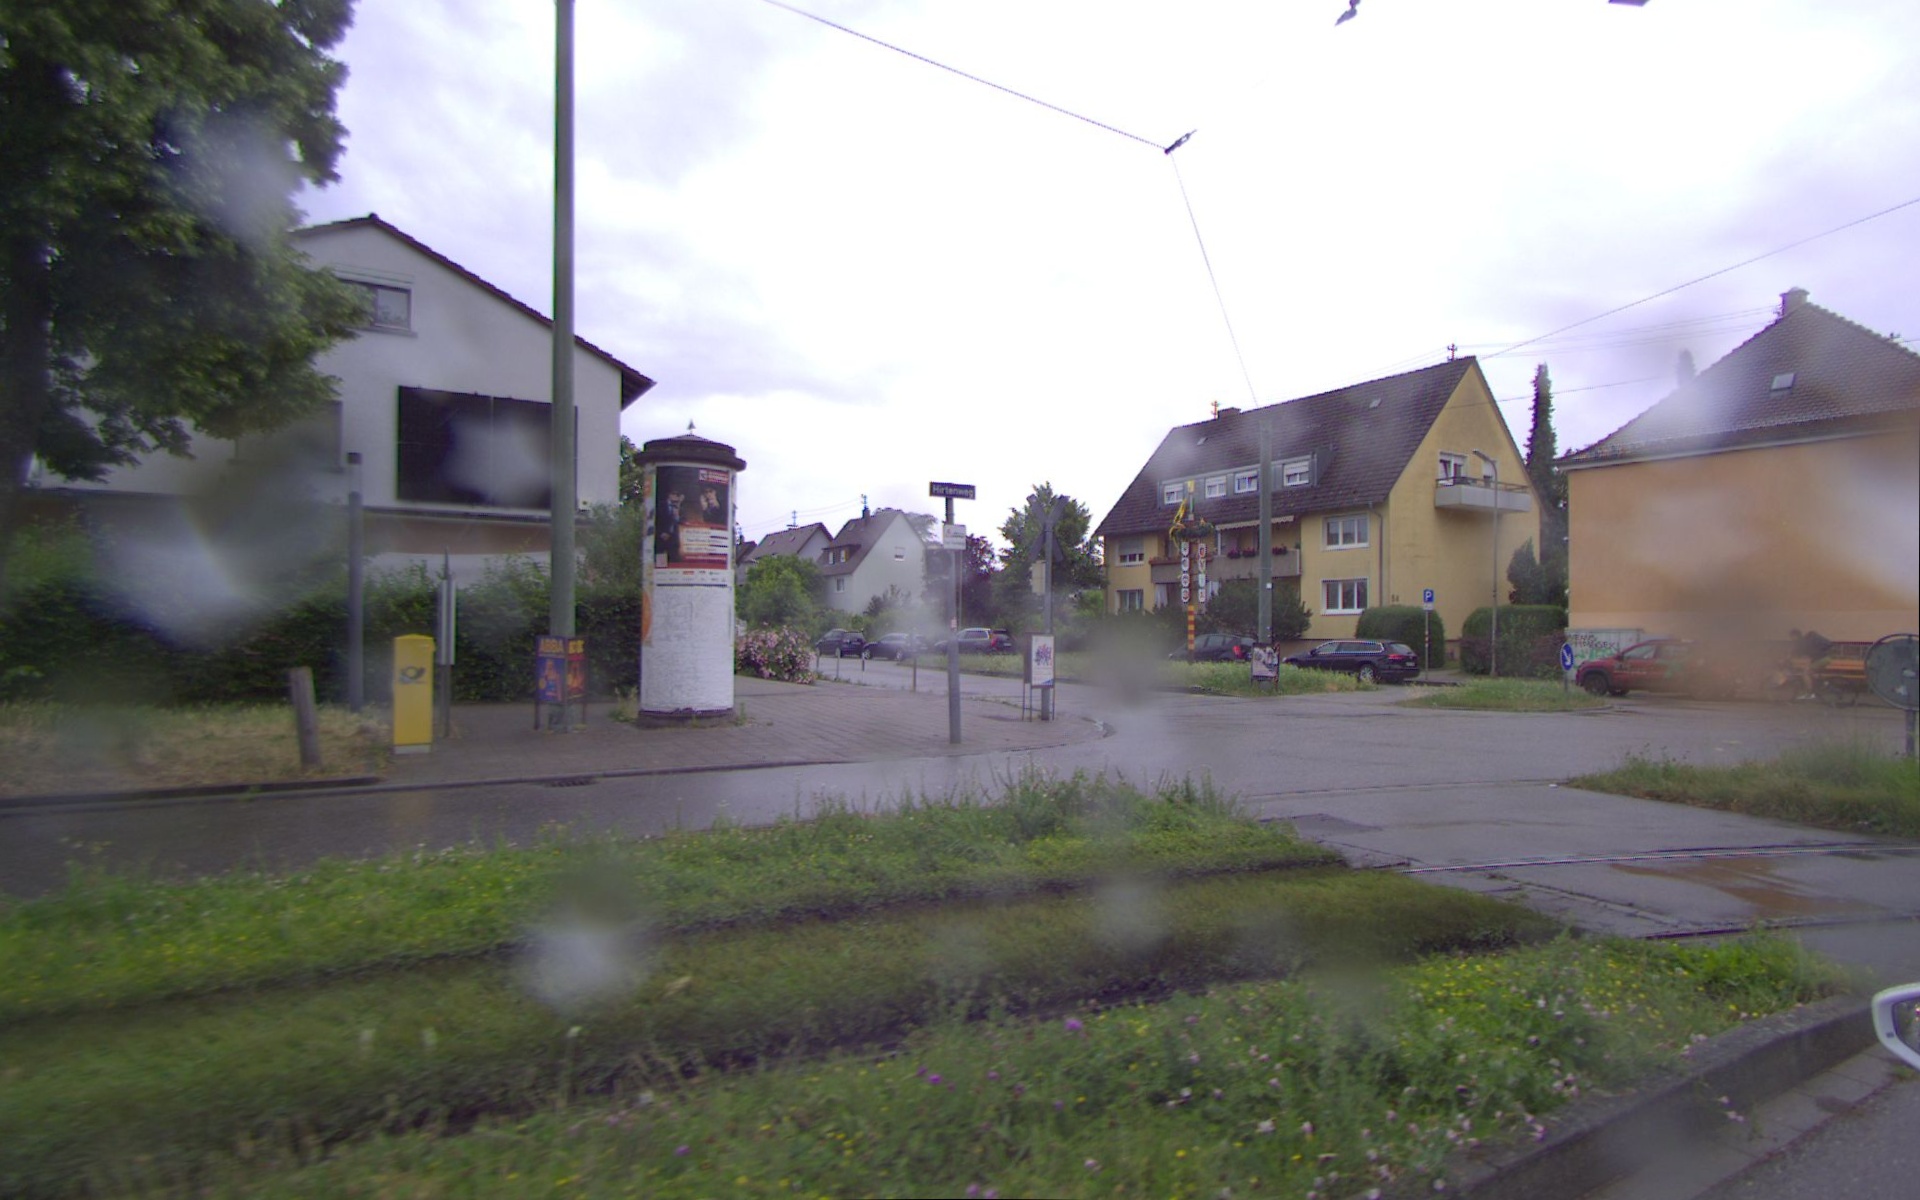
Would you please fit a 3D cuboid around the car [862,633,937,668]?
[{"bbox_3d":[-3.291,2.665,53.787,1.984,1.595,4.078,1,0,-40],"label":"car"}]

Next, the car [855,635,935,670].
[{"bbox_3d":[-3.018,2.356,45.886,1.979,1.495,3.964,1,-2,-33],"label":"car"}]

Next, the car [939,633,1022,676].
[{"bbox_3d":[0.988,2.629,49.254,1.983,1.818,3.954,1,0,-39],"label":"car"}]

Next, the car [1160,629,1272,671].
[{"bbox_3d":[9.705,1.877,38.349,1.742,1.350,3.961,1,0,-35],"label":"car"}]

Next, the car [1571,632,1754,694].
[{"bbox_3d":[18.401,1.606,26.448,1.705,1.357,3.582,1,0,-34],"label":"car"}]

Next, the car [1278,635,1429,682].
[{"bbox_3d":[13.152,1.903,33.835,1.947,1.414,4.463,1,-2,-34],"label":"car"}]

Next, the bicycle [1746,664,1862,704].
[{"bbox_3d":[18.913,1.864,22.541,0.932,0.797,1.803,1,-3,-33],"label":"bicycle"}]

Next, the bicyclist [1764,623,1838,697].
[{"bbox_3d":[18.891,1.335,22.581,0.940,1.619,1.033,1,-2,-34],"label":"bicyclist"}]

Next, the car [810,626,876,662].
[{"bbox_3d":[-6.808,2.508,58.139,1.983,1.818,3.955,1,0,-39],"label":"car"}]

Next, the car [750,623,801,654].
[{"bbox_3d":[-12.398,2.557,67.407,1.979,1.818,3.962,1,0,-34],"label":"car"}]

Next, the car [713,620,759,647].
[{"bbox_3d":[-16.457,2.441,73.701,1.979,1.818,3.962,1,0,-34],"label":"car"}]
